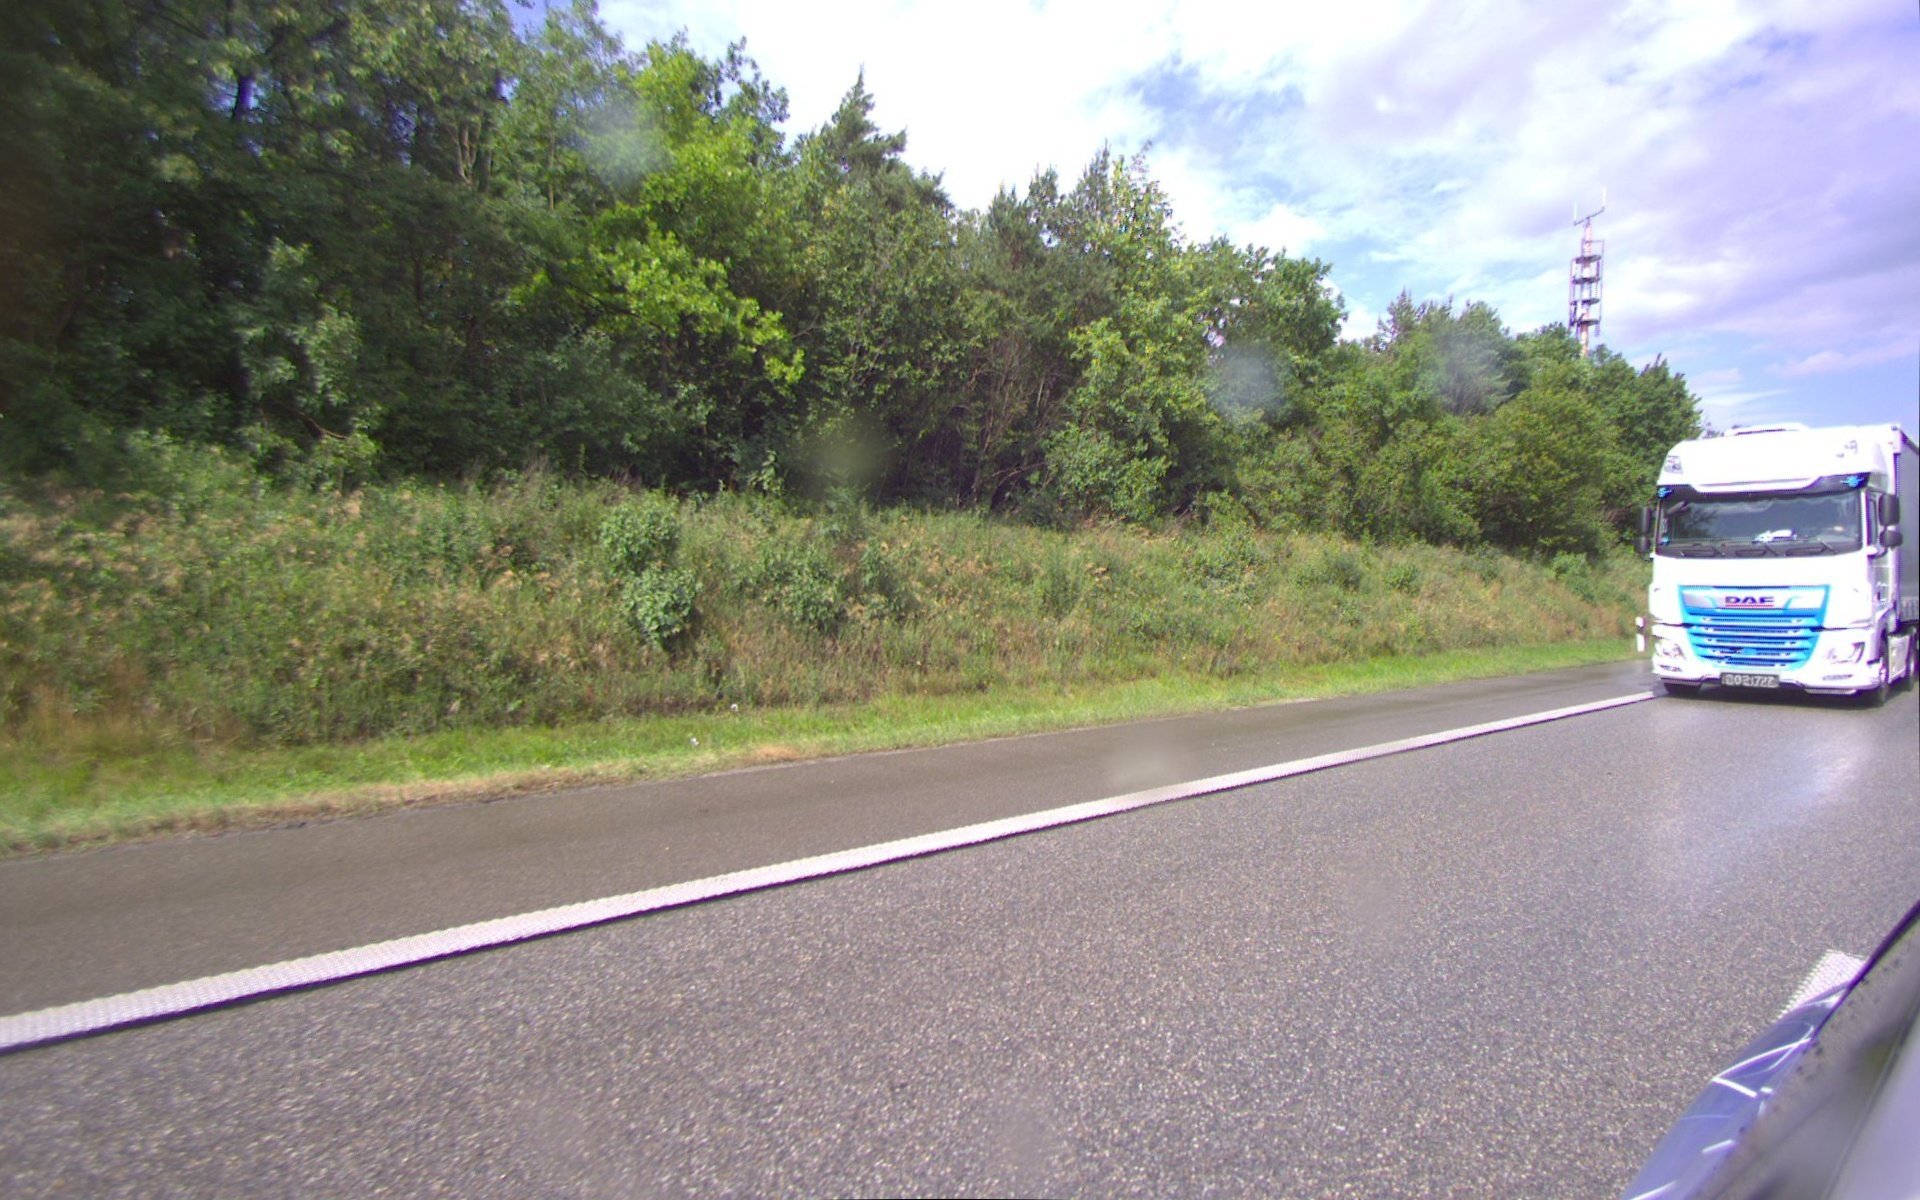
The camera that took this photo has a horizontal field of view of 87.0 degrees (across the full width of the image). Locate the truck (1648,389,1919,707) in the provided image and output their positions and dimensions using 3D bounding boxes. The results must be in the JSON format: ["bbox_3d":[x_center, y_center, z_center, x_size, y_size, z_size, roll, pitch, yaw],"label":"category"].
[{"bbox_3d":[13.647,-0.696,16.242,7.164,4.046,2.611,0,0,-41],"label":"truck"}]

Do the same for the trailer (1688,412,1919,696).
[{"bbox_3d":[17.869,-0.716,20.001,13.820,4.046,2.638,0,0,-41],"label":"trailer"}]
